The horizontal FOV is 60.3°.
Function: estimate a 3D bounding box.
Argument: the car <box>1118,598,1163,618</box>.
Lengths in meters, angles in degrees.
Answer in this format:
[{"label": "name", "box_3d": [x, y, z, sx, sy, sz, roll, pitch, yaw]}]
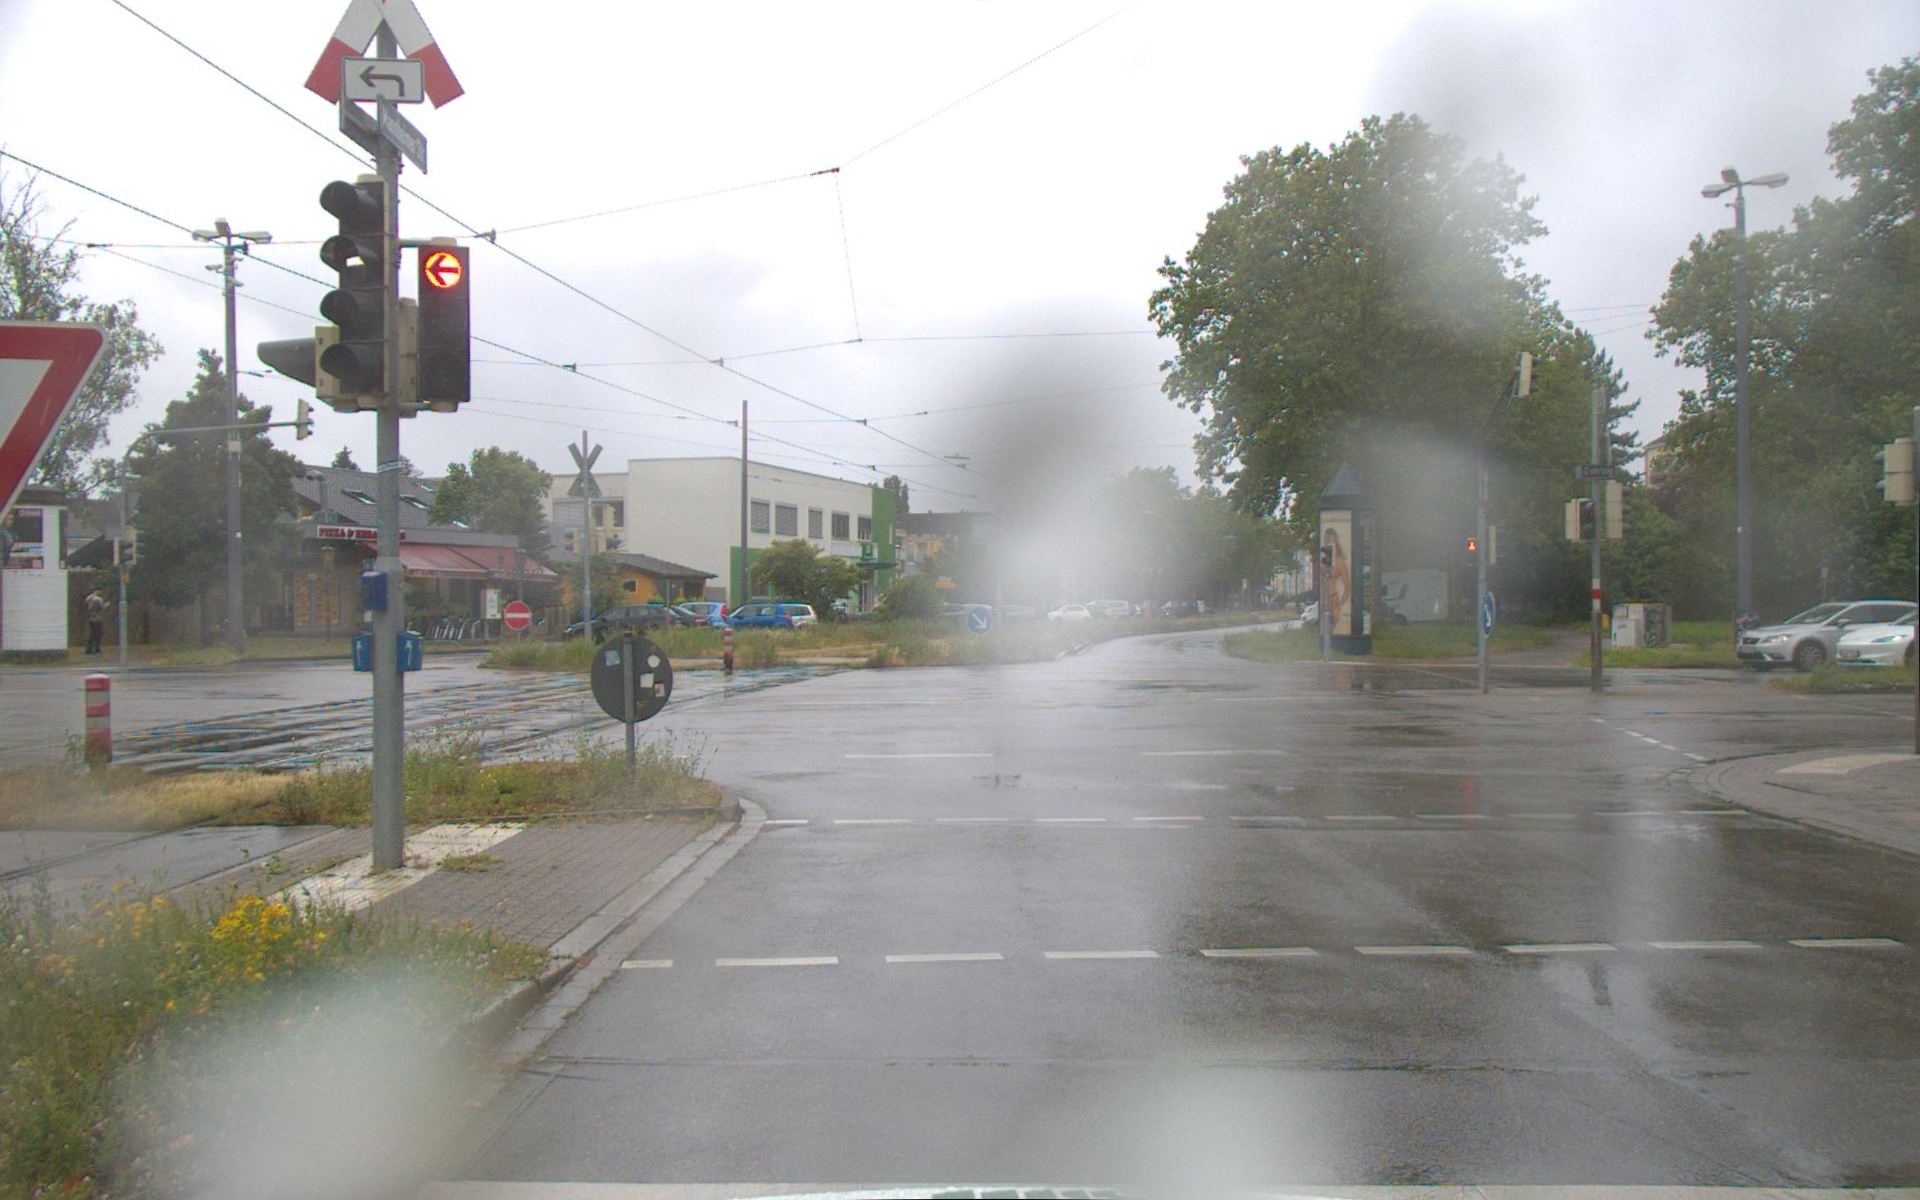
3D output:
[{"label": "car", "box_3d": [17.352, 0.732, 159.166, 3.909, 1.864, 1.998, 1, 0, -5]}]

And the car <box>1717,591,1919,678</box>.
[{"label": "car", "box_3d": [18.425, 0.727, 34.657, 4.309, 1.721, 1.931, 1, 0, -7]}]

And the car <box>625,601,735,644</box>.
[{"label": "car", "box_3d": [-10.889, 0.869, 64.542, 3.903, 1.609, 1.859, 0, 0, 4]}]

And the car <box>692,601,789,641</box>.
[{"label": "car", "box_3d": [-9.258, 0.871, 69.579, 3.916, 1.609, 1.924, 0, 0, -12]}]

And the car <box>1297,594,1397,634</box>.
[{"label": "car", "box_3d": [18.206, 0.654, 77.850, 4.352, 1.747, 2.000, 1, 0, 21]}]

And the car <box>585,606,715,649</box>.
[{"label": "car", "box_3d": [-11.423, 1.008, 61.203, 4.405, 1.443, 1.858, -2, 0, 0]}]

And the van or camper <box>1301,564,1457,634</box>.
[{"label": "van or camper", "box_3d": [20.489, -0.048, 80.830, 7.168, 3.234, 3.264, 1, 0, 17]}]

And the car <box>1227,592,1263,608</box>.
[{"label": "car", "box_3d": [34.286, -0.038, 199.205, 3.909, 1.864, 1.998, 1, 0, -5]}]

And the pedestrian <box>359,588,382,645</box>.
[{"label": "pedestrian", "box_3d": [-21.313, 0.582, 59.774, 0.713, 2.049, 0.789, 1, -1, -21]}]

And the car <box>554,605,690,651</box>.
[{"label": "car", "box_3d": [-11.978, 0.989, 58.787, 4.385, 1.443, 1.858, -2, 0, 0]}]

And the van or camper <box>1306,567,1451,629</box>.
[{"label": "van or camper", "box_3d": [22.815, -0.112, 90.058, 7.274, 3.234, 3.262, 1, 0, 22]}]

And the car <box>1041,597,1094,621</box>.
[{"label": "car", "box_3d": [8.265, 0.681, 126.880, 3.706, 1.732, 1.832, 1, 0, -11]}]

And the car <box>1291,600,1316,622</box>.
[{"label": "car", "box_3d": [27.780, 0.897, 133.696, 1.768, 1.716, 3.914, 1, 0, 15]}]

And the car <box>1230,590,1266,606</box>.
[{"label": "car", "box_3d": [35.494, -0.268, 203.958, 3.909, 1.864, 1.998, 1, 0, -5]}]

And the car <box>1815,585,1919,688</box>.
[{"label": "car", "box_3d": [18.875, 0.699, 31.301, 4.506, 1.860, 1.931, 1, 0, -7]}]

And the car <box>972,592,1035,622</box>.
[{"label": "car", "box_3d": [2.869, 0.495, 110.211, 3.911, 1.920, 1.997, 1, 0, -7]}]

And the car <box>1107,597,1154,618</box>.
[{"label": "car", "box_3d": [15.879, 0.685, 154.074, 3.916, 1.864, 1.994, 1, 0, -12]}]

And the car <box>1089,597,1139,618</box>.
[{"label": "car", "box_3d": [13.522, 0.644, 145.075, 3.916, 1.789, 2.004, 1, 0, -12]}]

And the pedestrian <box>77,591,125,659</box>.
[{"label": "pedestrian", "box_3d": [-23.694, 0.677, 45.631, 0.709, 1.829, 0.887, 2, 0, 16]}]

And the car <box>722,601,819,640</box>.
[{"label": "car", "box_3d": [-8.359, 0.870, 72.768, 4.040, 1.670, 1.922, 0, 0, -15]}]
